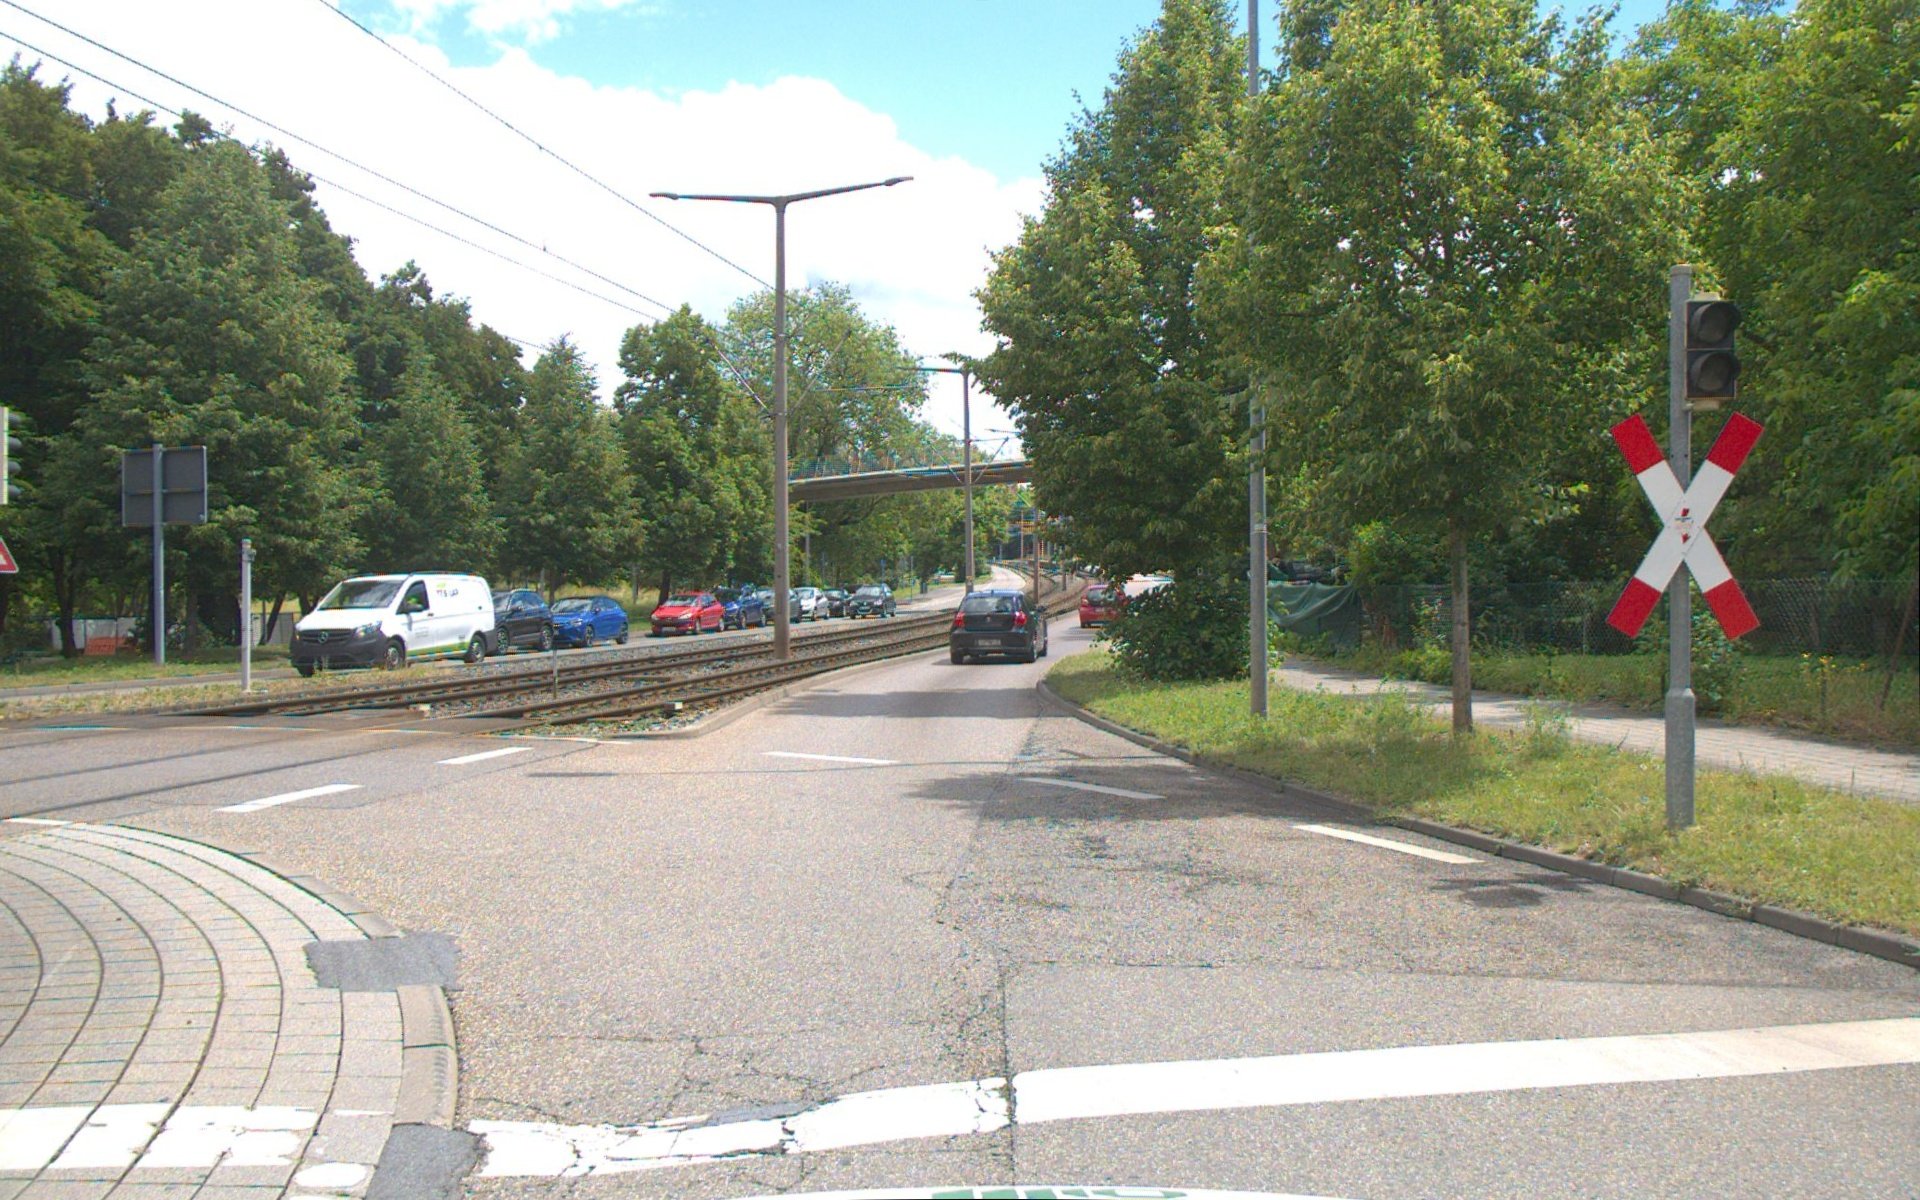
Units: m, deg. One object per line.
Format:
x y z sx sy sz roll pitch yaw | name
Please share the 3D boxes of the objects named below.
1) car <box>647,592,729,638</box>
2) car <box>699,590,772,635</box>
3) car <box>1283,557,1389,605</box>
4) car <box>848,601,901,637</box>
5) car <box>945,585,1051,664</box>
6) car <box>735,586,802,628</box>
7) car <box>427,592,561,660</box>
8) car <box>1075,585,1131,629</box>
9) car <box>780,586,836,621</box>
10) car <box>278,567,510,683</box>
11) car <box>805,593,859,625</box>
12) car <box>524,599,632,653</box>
-9.447 0.527 57.690 1.578 1.520 4.051 1 -1 10 | car
-8.510 0.499 62.970 1.524 1.624 4.163 1 -1 10 | car
16.737 -0.833 73.851 4.429 1.700 2.002 -5 -2 12 | car
-3.891 0.863 75.678 1.579 1.601 4.003 1 -1 10 | car
0.831 0.448 33.831 1.672 1.485 3.964 1 1 8 | car
-7.863 0.265 68.146 1.607 1.651 4.129 -1 0 10 | car
-11.868 0.672 42.428 1.546 1.633 4.378 1 -1 10 | car
5.017 0.264 57.765 1.589 1.469 3.424 1 -1 11 | car
-6.751 0.172 73.839 1.559 1.520 4.195 1 -1 8 | car
-10.904 0.487 32.359 1.835 2.054 5.239 1 -1 12 | car
-6.103 0.434 79.063 1.653 1.476 3.901 1 -1 10 | car
-10.963 0.746 47.678 1.578 1.486 4.010 1 -1 10 | car
